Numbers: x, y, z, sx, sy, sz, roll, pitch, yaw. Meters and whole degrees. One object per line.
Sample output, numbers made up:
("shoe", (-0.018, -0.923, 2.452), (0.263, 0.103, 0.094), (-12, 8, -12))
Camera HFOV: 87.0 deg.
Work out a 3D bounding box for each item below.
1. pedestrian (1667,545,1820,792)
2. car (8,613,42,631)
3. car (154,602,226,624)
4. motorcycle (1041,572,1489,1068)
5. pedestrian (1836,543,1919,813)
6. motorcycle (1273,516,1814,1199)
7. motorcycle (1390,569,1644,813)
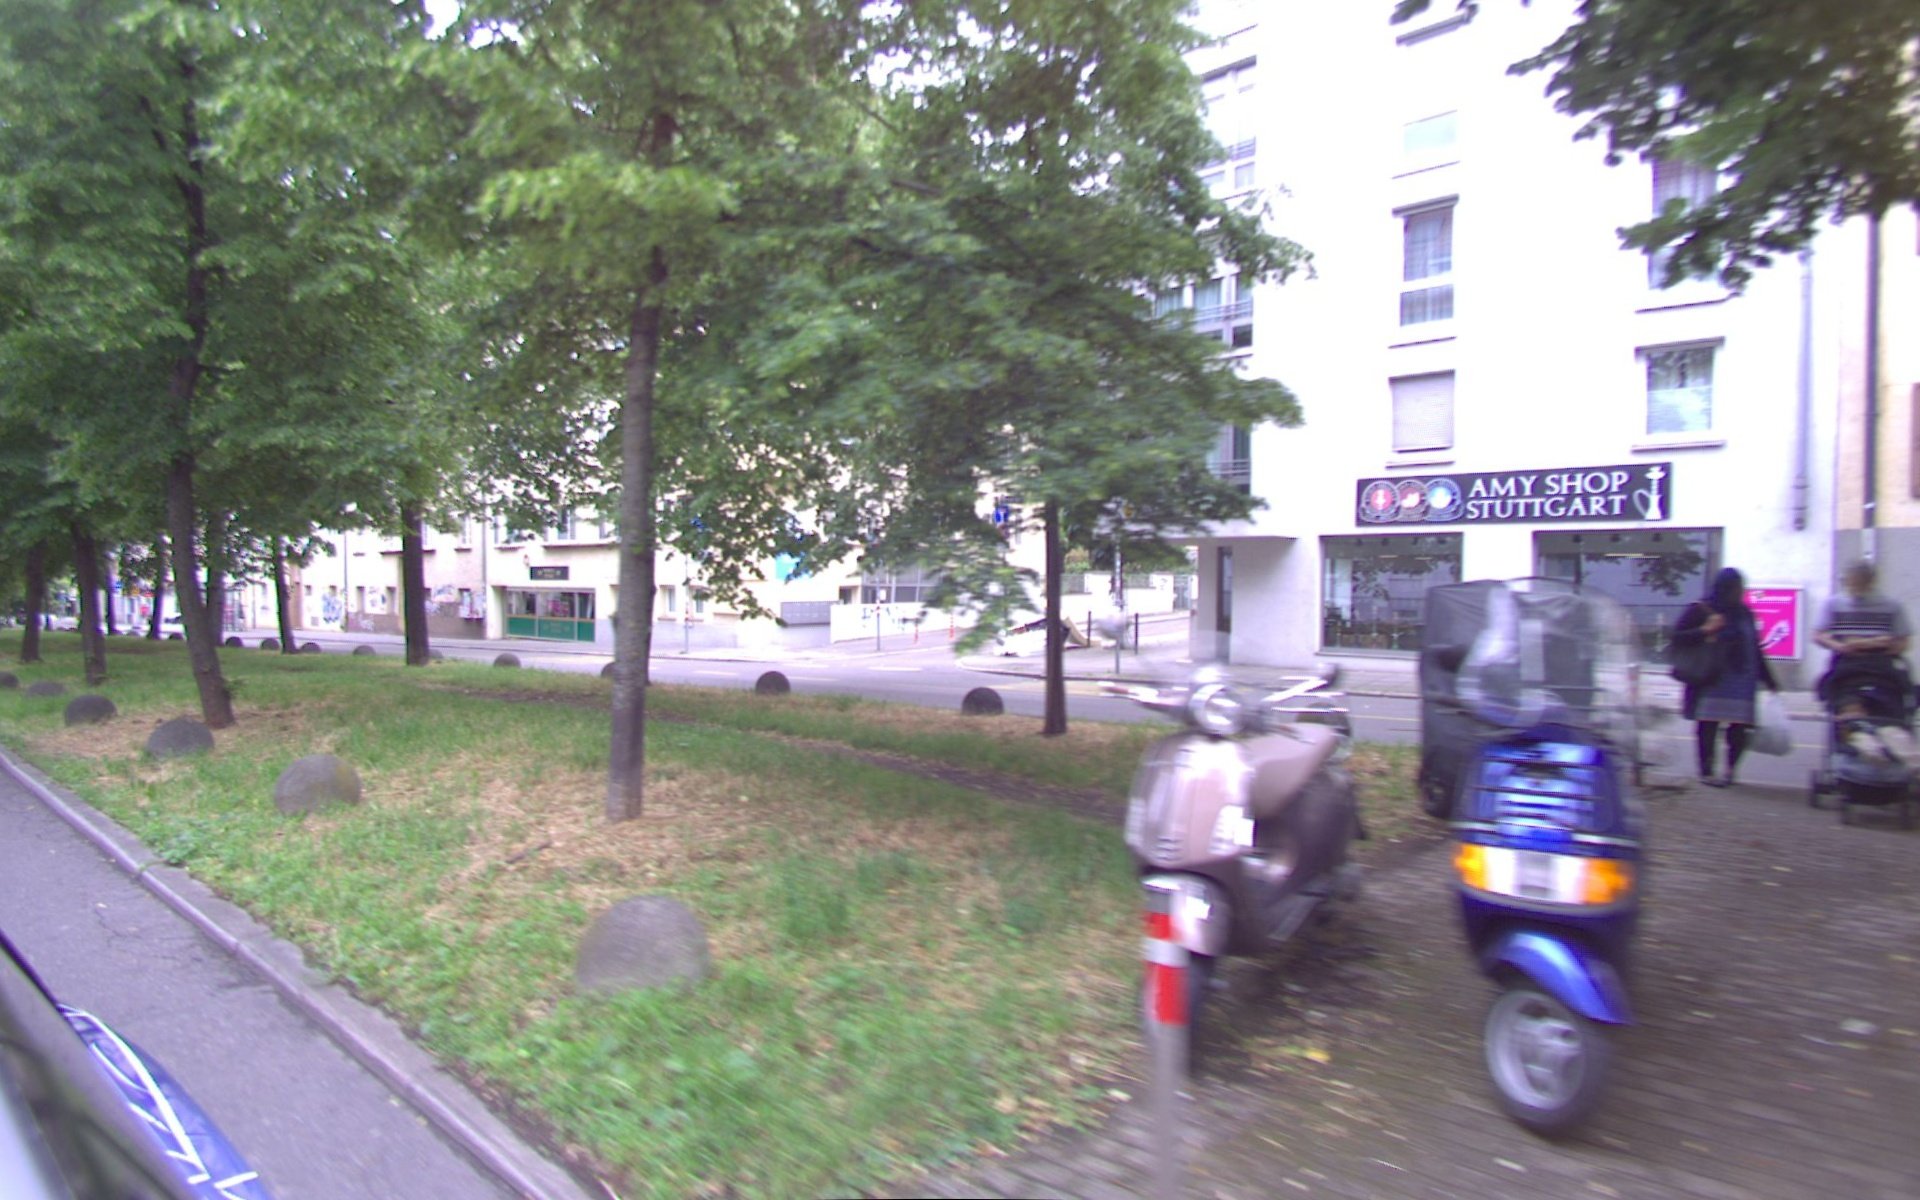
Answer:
("pedestrian", (5.495, 0.453, 7.143), (0.762, 1.625, 0.629), (-2, 0, 33))
("car", (-88.210, 2.037, 95.457), (4.362, 1.641, 1.928), (-1, -1, 41))
("car", (-61.345, 1.005, 80.676), (2.048, 1.430, 4.241), (-2, 2, 44))
("motorcycle", (1.212, 0.571, 3.691), (0.893, 1.306, 1.905), (1, 1, 39))
("pedestrian", (5.960, 0.467, 6.407), (0.579, 1.628, 0.655), (-1, 0, 43))
("motorcycle", (1.819, 0.556, 2.927), (0.874, 1.449, 2.170), (-1, 1, 43))
("motorcycle", (3.786, 0.491, 6.748), (1.045, 1.327, 2.358), (-1, 0, 40))
